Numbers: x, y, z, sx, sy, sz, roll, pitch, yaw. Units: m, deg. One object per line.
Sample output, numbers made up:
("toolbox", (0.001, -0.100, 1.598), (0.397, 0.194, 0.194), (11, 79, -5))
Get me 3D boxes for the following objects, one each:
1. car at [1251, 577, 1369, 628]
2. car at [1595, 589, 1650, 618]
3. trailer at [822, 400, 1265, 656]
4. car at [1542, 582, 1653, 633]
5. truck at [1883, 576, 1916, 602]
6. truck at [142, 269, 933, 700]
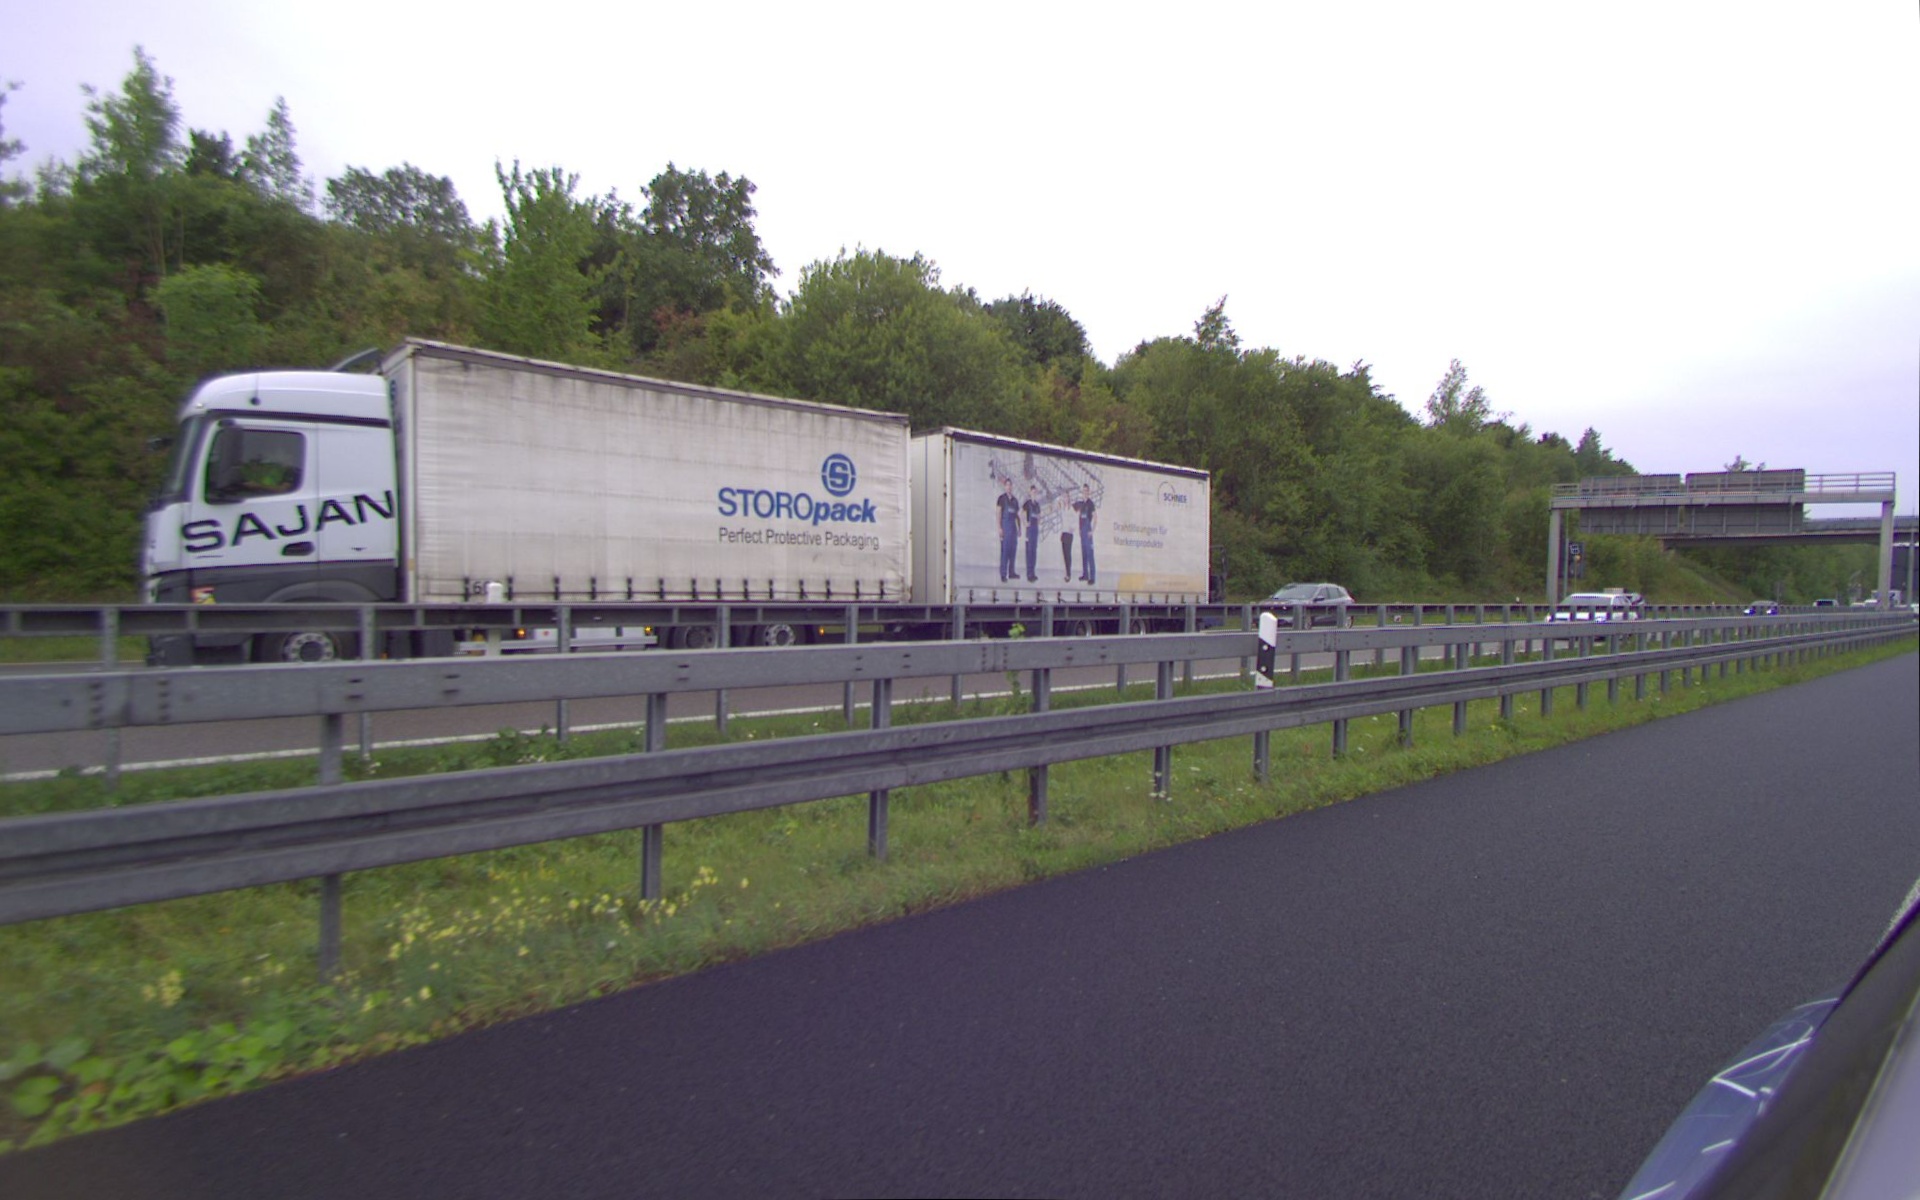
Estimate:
("car", (12.048, 0.062, 34.732), (4.420, 1.634, 1.863), (0, 1, -40))
("car", (38.708, 0.174, 59.095), (4.171, 1.602, 1.861), (-1, 1, -45))
("trailer", (2.283, -1.271, 21.910), (10.274, 4.343, 3.442), (0, 1, -42))
("car", (19.905, 0.193, 31.539), (4.086, 1.465, 1.863), (-1, 1, -42))
("truck", (129.795, -1.596, 139.742), (9.130, 3.460, 2.904), (-1, 1, -44))
("truck", (-5.405, -1.217, 14.933), (10.238, 4.343, 3.442), (0, 1, -42))
